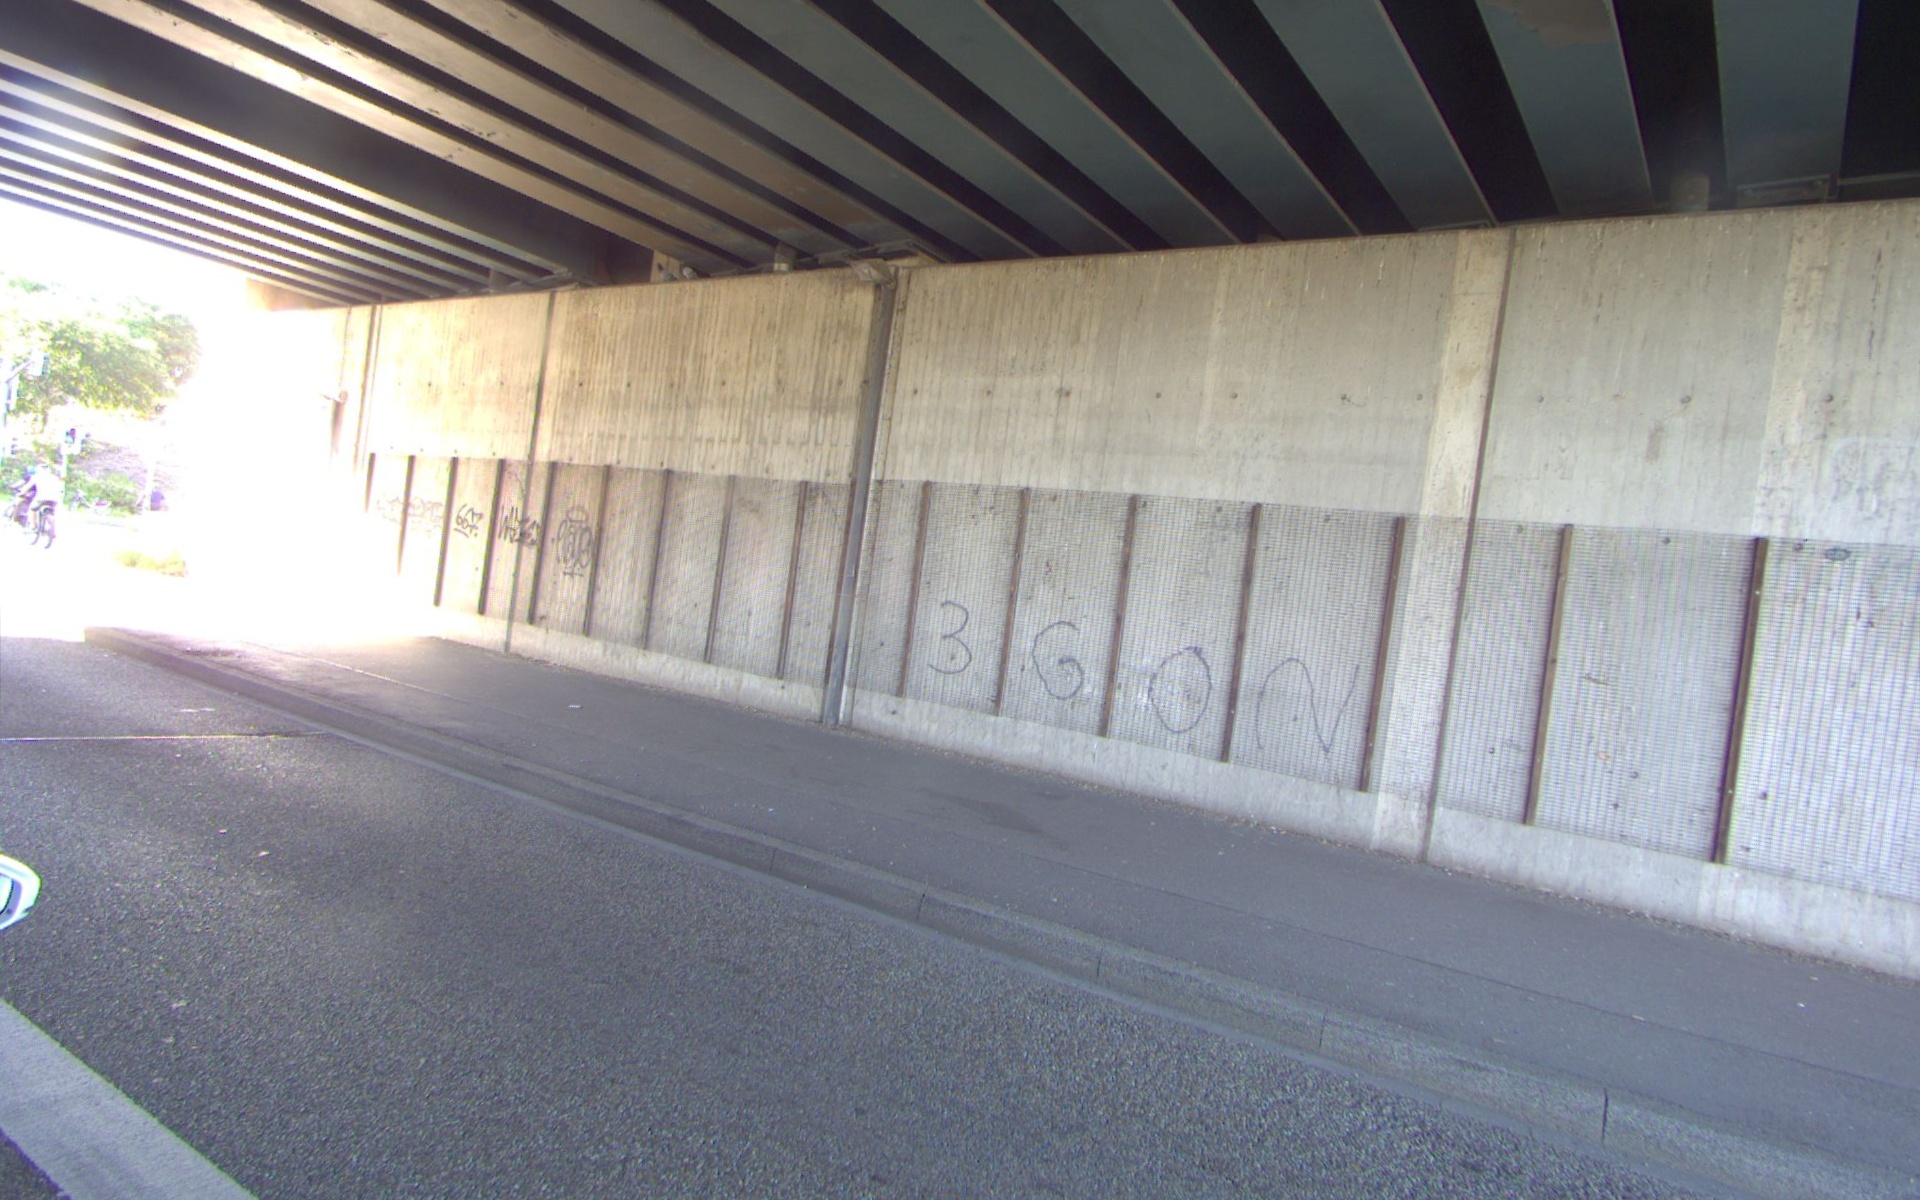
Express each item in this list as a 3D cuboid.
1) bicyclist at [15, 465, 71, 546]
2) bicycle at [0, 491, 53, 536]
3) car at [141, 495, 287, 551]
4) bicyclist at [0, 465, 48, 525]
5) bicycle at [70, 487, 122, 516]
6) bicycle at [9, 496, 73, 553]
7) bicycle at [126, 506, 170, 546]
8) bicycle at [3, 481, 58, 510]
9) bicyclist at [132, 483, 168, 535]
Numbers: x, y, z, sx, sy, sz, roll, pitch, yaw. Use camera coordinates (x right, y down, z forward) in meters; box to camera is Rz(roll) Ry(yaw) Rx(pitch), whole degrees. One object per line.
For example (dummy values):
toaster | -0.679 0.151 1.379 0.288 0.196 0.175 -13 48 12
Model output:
bicyclist | -19.084 -1.969 20.934 0.757 1.566 0.592 6 -1 37
bicycle | -25.735 -2.375 27.517 2.020 1.035 0.673 6 -1 29
car | -31.376 -3.205 42.436 1.801 1.531 4.548 6 -3 39
bicyclist | -25.538 -2.849 27.412 0.738 1.491 0.666 7 -1 30
bicycle | -41.020 -4.683 47.763 0.586 1.035 1.743 6 -2 43
bicycle | -19.162 -1.586 20.976 1.724 1.035 0.592 6 -2 37
bicycle | -25.692 -2.351 31.810 1.724 1.036 0.667 10 2 40
bicycle | -43.080 -4.834 46.625 0.585 1.035 1.744 6 -2 40
bicyclist | -25.595 -2.875 31.783 0.609 1.499 0.649 8 0 39
